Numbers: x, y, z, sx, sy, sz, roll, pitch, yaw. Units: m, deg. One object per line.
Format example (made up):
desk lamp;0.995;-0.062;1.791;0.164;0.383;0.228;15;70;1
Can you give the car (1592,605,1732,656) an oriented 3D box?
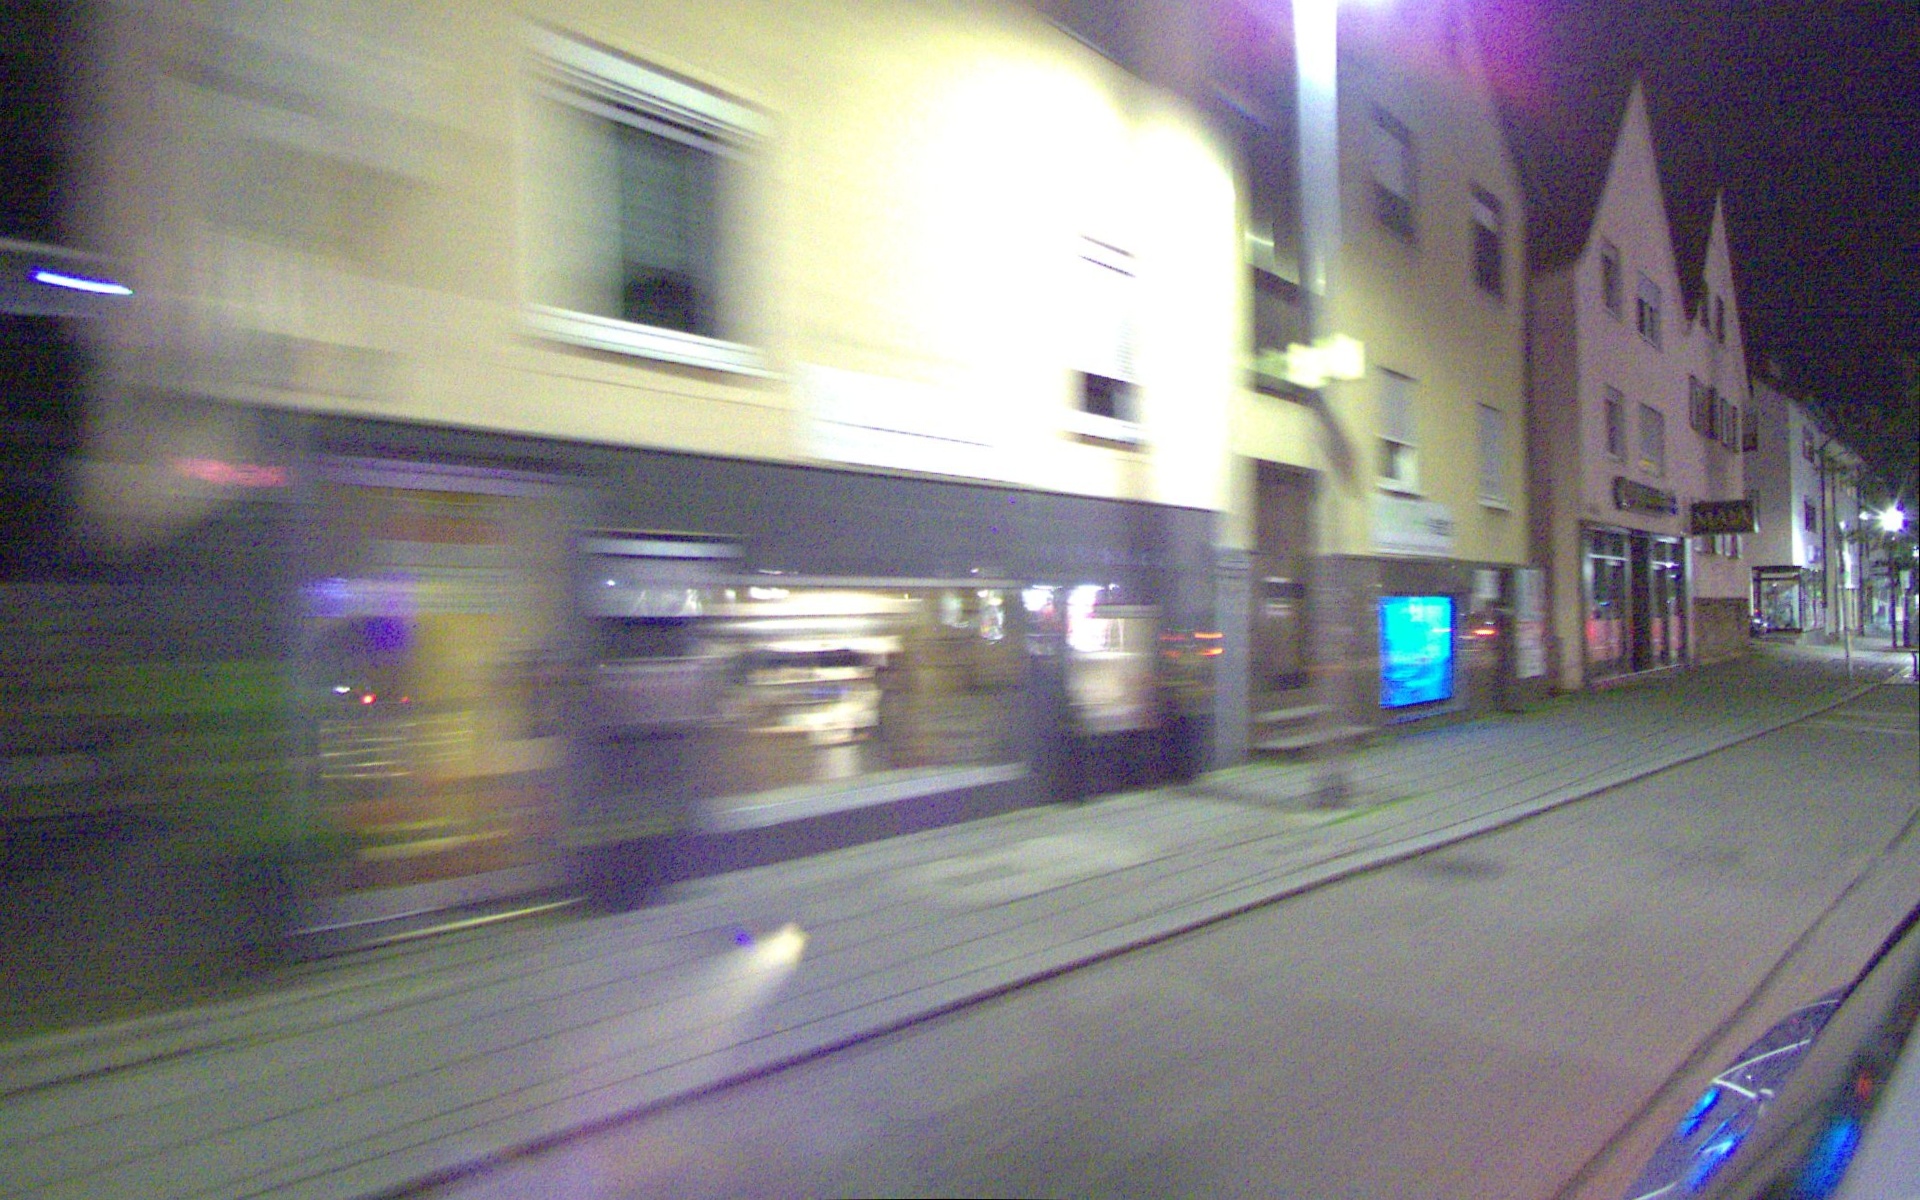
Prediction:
car;22.473;0.936;32.471;1.618;1.298;3.398;1;4;-44

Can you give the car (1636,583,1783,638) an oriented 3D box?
car;26.419;0.336;35.756;1.618;1.607;3.910;1;4;-44
